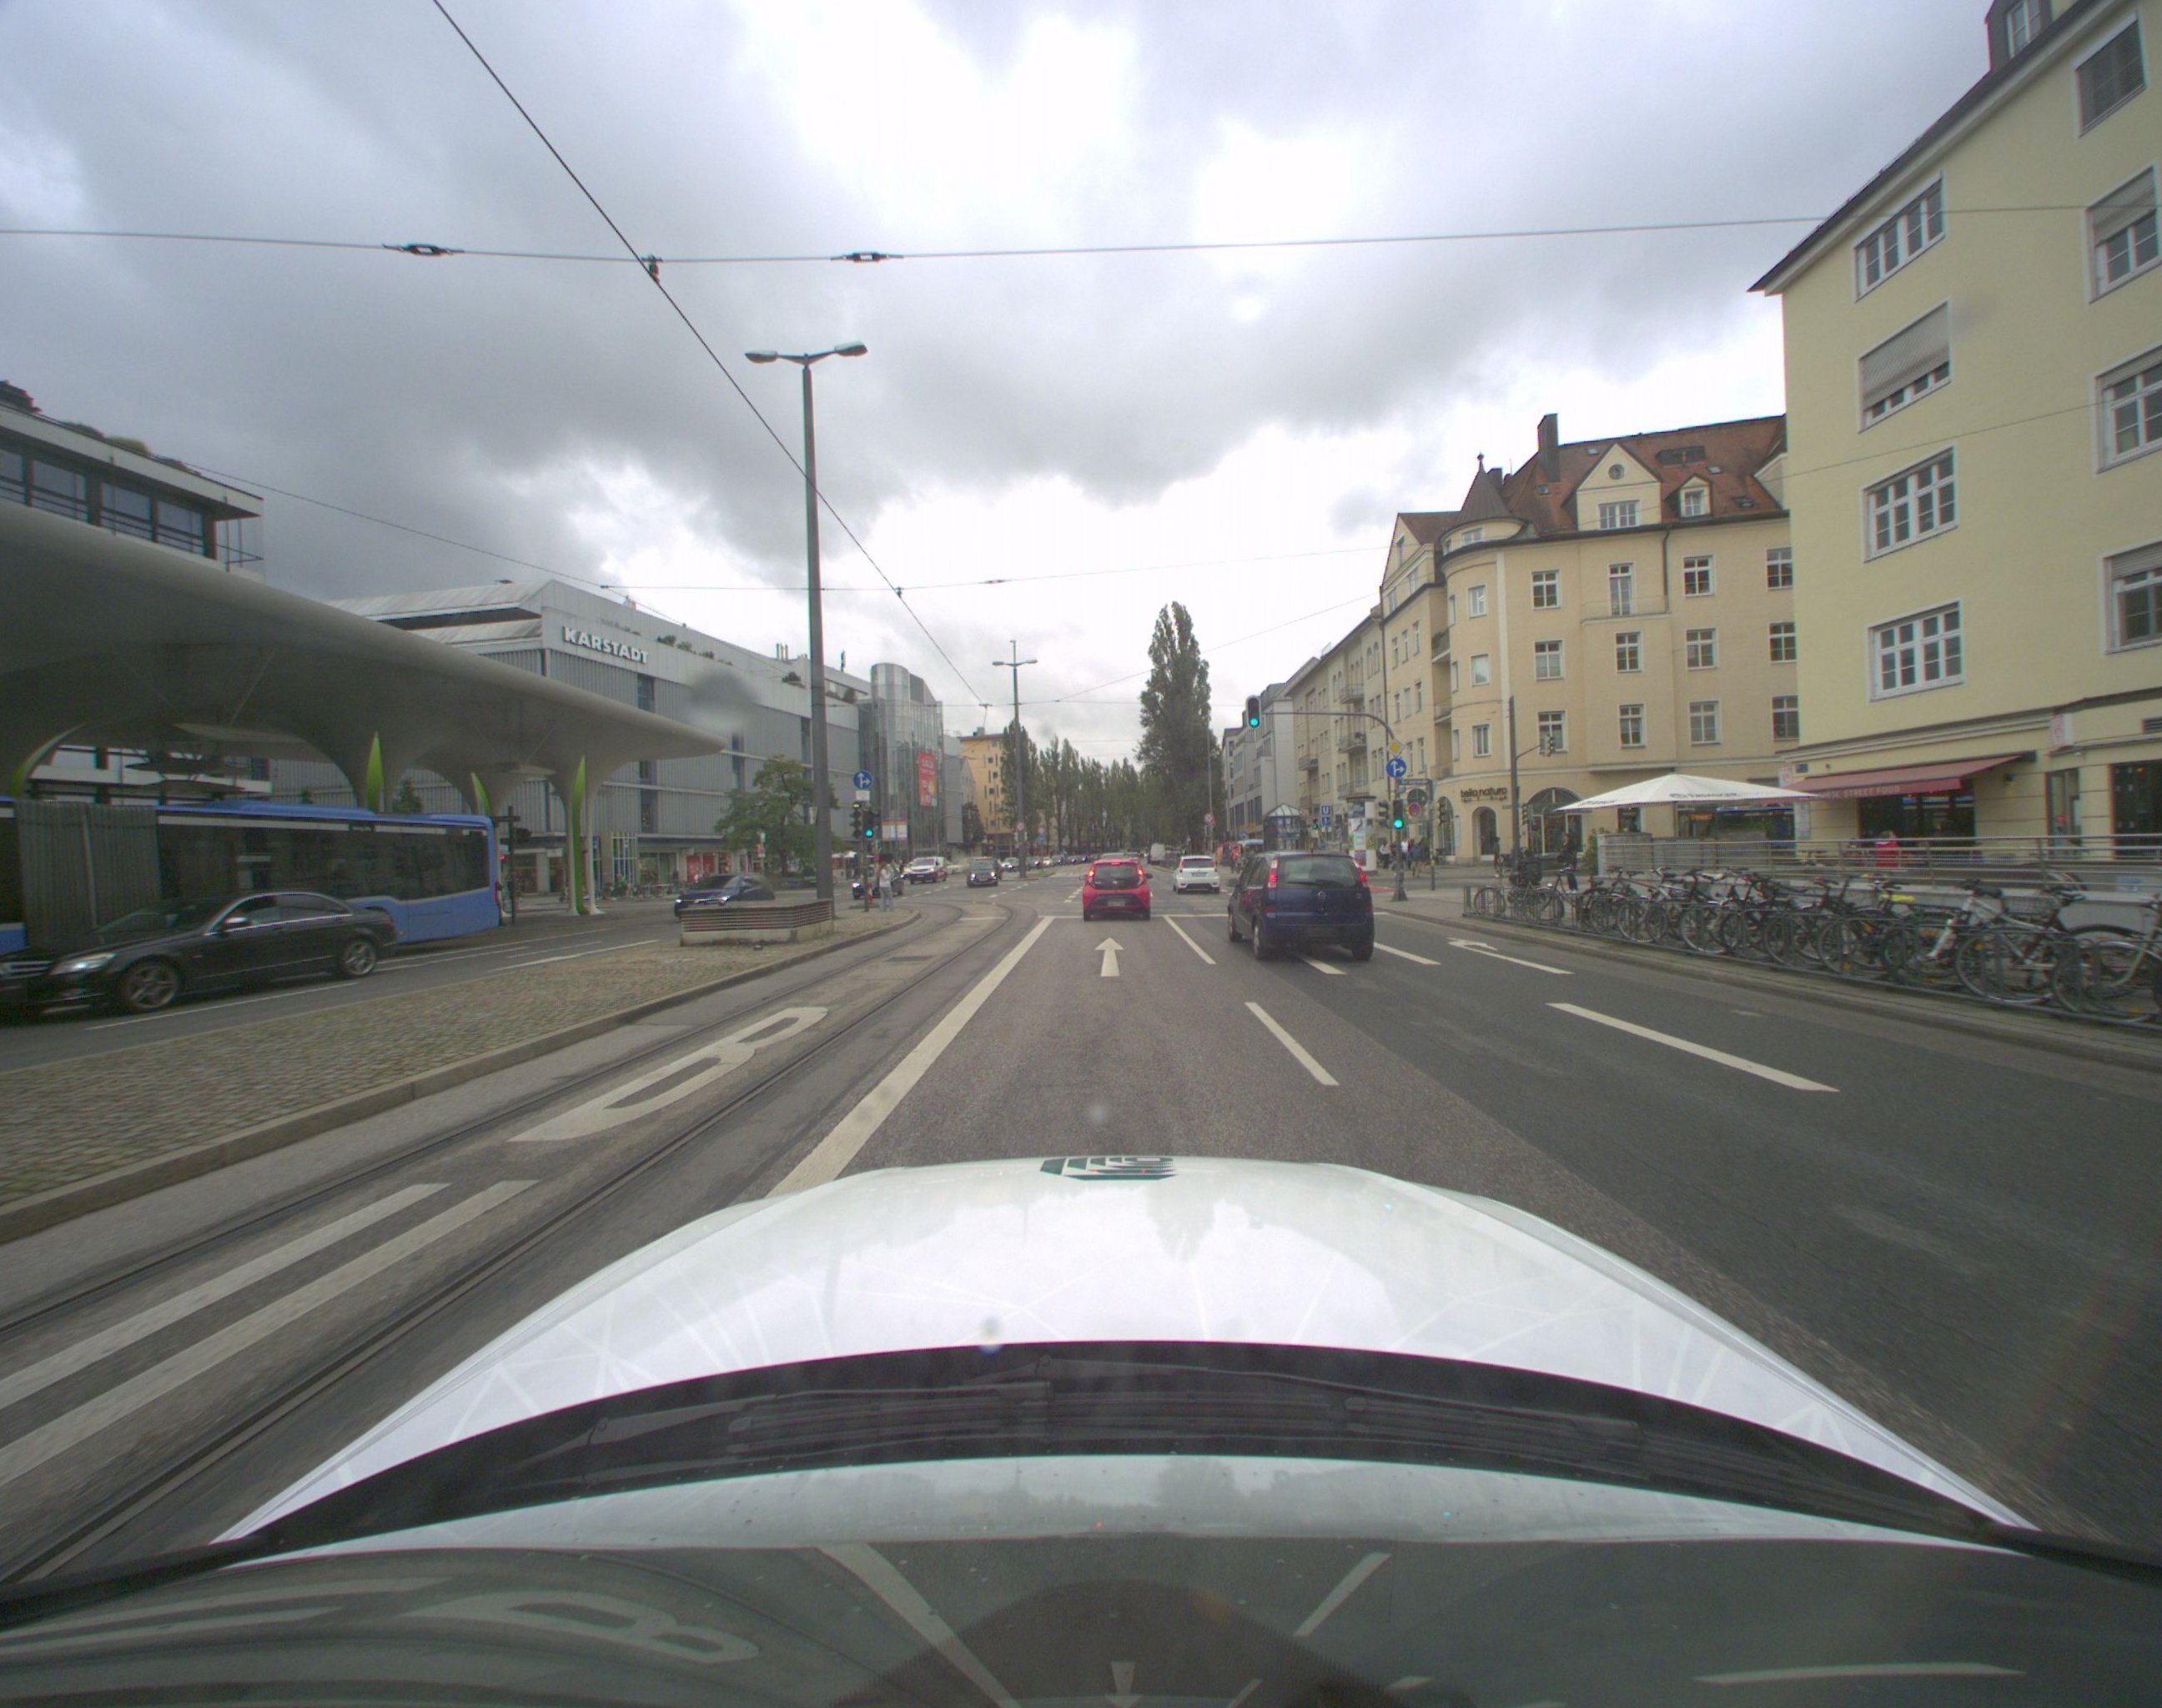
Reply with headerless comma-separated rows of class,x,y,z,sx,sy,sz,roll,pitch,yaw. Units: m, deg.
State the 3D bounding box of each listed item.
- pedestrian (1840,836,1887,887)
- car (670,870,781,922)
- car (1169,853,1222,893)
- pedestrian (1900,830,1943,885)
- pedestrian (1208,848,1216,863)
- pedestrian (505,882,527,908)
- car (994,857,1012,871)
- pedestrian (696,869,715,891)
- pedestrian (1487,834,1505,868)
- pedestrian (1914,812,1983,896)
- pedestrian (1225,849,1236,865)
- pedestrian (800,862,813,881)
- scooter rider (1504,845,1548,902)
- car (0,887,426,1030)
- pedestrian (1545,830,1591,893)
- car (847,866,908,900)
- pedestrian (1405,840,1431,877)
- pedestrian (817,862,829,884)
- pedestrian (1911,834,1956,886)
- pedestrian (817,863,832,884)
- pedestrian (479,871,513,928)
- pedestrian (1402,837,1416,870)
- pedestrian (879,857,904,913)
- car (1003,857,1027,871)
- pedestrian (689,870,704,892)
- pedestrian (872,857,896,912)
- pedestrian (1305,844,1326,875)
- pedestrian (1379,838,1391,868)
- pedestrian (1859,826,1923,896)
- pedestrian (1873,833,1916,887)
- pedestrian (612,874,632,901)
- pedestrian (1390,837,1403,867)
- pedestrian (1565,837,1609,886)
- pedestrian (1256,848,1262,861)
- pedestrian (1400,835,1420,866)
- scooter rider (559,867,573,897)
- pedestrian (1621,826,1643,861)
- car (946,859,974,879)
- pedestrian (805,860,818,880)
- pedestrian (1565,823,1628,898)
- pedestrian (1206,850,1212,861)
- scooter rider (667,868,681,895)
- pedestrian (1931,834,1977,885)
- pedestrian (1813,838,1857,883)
pedestrian,20.327,0.187,21.173,0.512,1.292,0.703,-2,0,0
car,-11.387,1.295,26.447,1.672,1.395,4.232,-3,0,0
car,4.481,0.719,32.301,1.693,1.426,3.498,-2,0,2
pedestrian,20.665,0.085,20.033,0.476,1.299,0.527,-2,0,0
pedestrian,15.560,0.217,96.845,0.787,1.727,0.764,-2,0,2
pedestrian,-36.834,2.666,53.092,0.781,1.642,0.861,-2,0,13
car,-9.353,1.174,98.132,1.692,1.596,4.001,-2,0,1
pedestrian,-28.546,1.958,61.960,0.791,1.581,0.980,-2,0,13
pedestrian,21.562,-0.167,42.361,0.675,1.684,0.750,-2,3,17
pedestrian,17.469,0.006,16.406,0.612,1.632,0.678,-2,0,2
pedestrian,14.531,0.278,79.065,0.808,1.522,0.798,-2,0,-9
pedestrian,-21.709,1.397,64.306,0.754,1.493,0.765,-2,0,-33
scooter rider,11.101,0.480,20.324,0.698,1.389,0.643,-2,0,0
car,-12.000,1.286,11.497,1.667,1.378,4.613,-3,0,1
pedestrian,13.693,0.206,22.892,0.762,1.695,0.762,-2,0,-24
car,-9.575,1.313,38.558,1.837,1.416,4.034,-2,0,0
pedestrian,16.513,0.194,39.929,0.928,1.755,1.068,-2,0,10
pedestrian,-20.642,1.524,65.154,0.752,1.773,0.767,-2,0,-21
pedestrian,19.964,0.138,19.076,0.476,1.166,0.527,-2,0,0
pedestrian,-20.130,1.524,63.994,0.765,1.654,0.754,-2,0,13
pedestrian,-18.044,1.395,25.127,0.543,1.720,0.616,-2,0,9
pedestrian,18.003,-0.049,44.672,0.642,1.751,0.640,-2,3,24
pedestrian,-5.649,0.919,24.229,0.466,1.618,0.515,-2,-1,-45
car,-7.039,1.084,87.560,1.985,1.412,4.171,2,0,3
pedestrian,-28.044,1.947,59.452,0.633,1.574,0.723,-2,0,15
pedestrian,-5.928,0.921,24.515,0.489,1.618,0.552,-2,0,-33
pedestrian,12.838,0.305,44.582,0.826,1.691,0.825,-2,0,39
pedestrian,17.100,-0.059,45.781,0.560,1.670,0.565,-2,3,24
pedestrian,16.993,0.144,17.090,0.673,1.422,0.617,-2,0,2
pedestrian,19.958,0.137,19.983,0.476,1.299,0.527,-2,0,0
pedestrian,-29.088,2.137,51.582,0.840,1.618,0.806,-2,0,-13
pedestrian,17.787,-0.127,45.876,0.556,1.609,0.570,-2,3,15
pedestrian,16.201,0.236,26.091,0.730,1.540,0.887,-2,0,-13
pedestrian,19.542,0.065,89.442,0.572,1.402,0.580,-2,0,2
pedestrian,18.443,-0.204,45.668,0.648,1.705,0.727,-4,3,-27
scooter rider,-32.763,1.764,51.856,0.610,1.839,0.551,-2,0,-22
pedestrian,28.031,-0.555,41.435,0.676,1.705,0.749,-2,3,11
car,-10.210,1.241,69.060,1.658,1.508,4.281,-2,0,0
pedestrian,-21.654,1.307,65.364,0.755,1.554,0.764,-2,0,-38
pedestrian,12.513,0.160,19.785,0.882,1.743,0.854,-2,0,-15
pedestrian,18.537,0.198,117.798,0.710,1.558,0.676,-2,0,2
scooter rider,-27.865,1.877,55.756,0.664,1.835,0.619,-2,0,-5
pedestrian,20.494,0.138,19.135,0.476,1.166,0.527,-2,0,0
pedestrian,20.386,0.180,22.030,0.512,1.182,0.703,-2,0,0
